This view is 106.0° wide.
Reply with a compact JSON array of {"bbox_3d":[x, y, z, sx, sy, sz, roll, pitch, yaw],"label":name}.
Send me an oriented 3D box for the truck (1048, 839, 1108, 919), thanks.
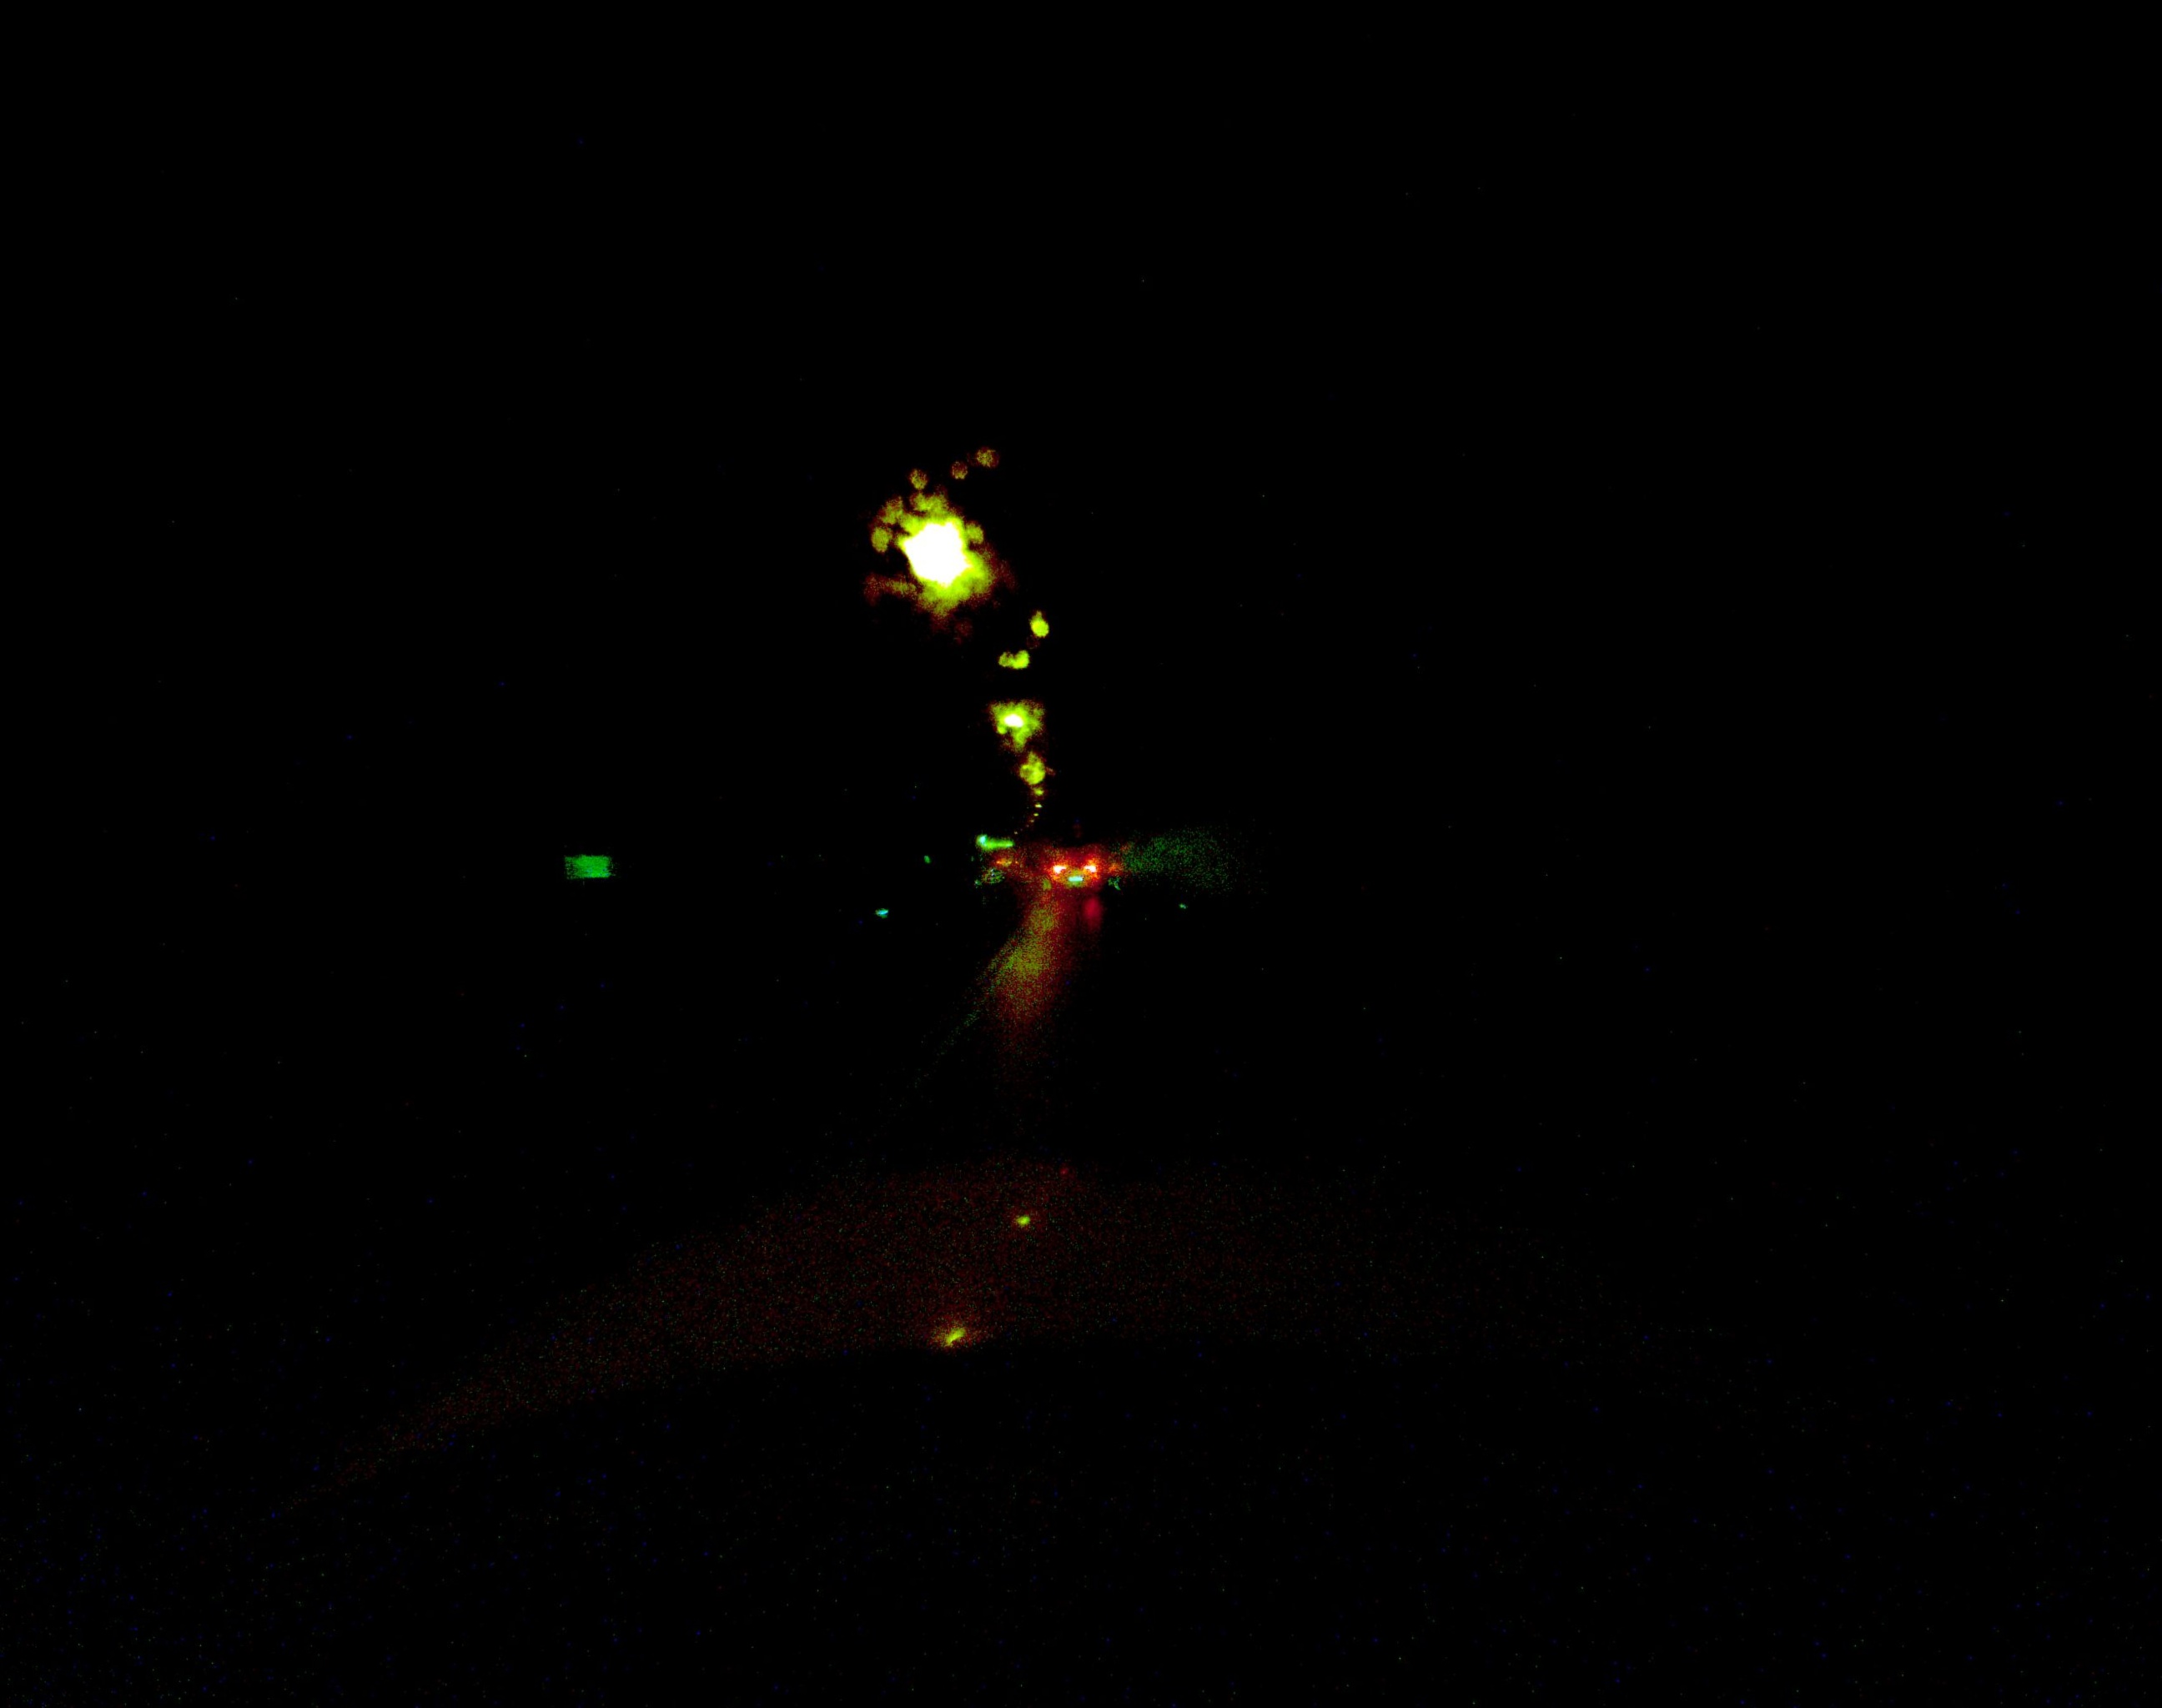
[{"bbox_3d":[-0.123,0.971,34.609,2.255,3.011,7.413,0,0,0],"label":"truck"}]
